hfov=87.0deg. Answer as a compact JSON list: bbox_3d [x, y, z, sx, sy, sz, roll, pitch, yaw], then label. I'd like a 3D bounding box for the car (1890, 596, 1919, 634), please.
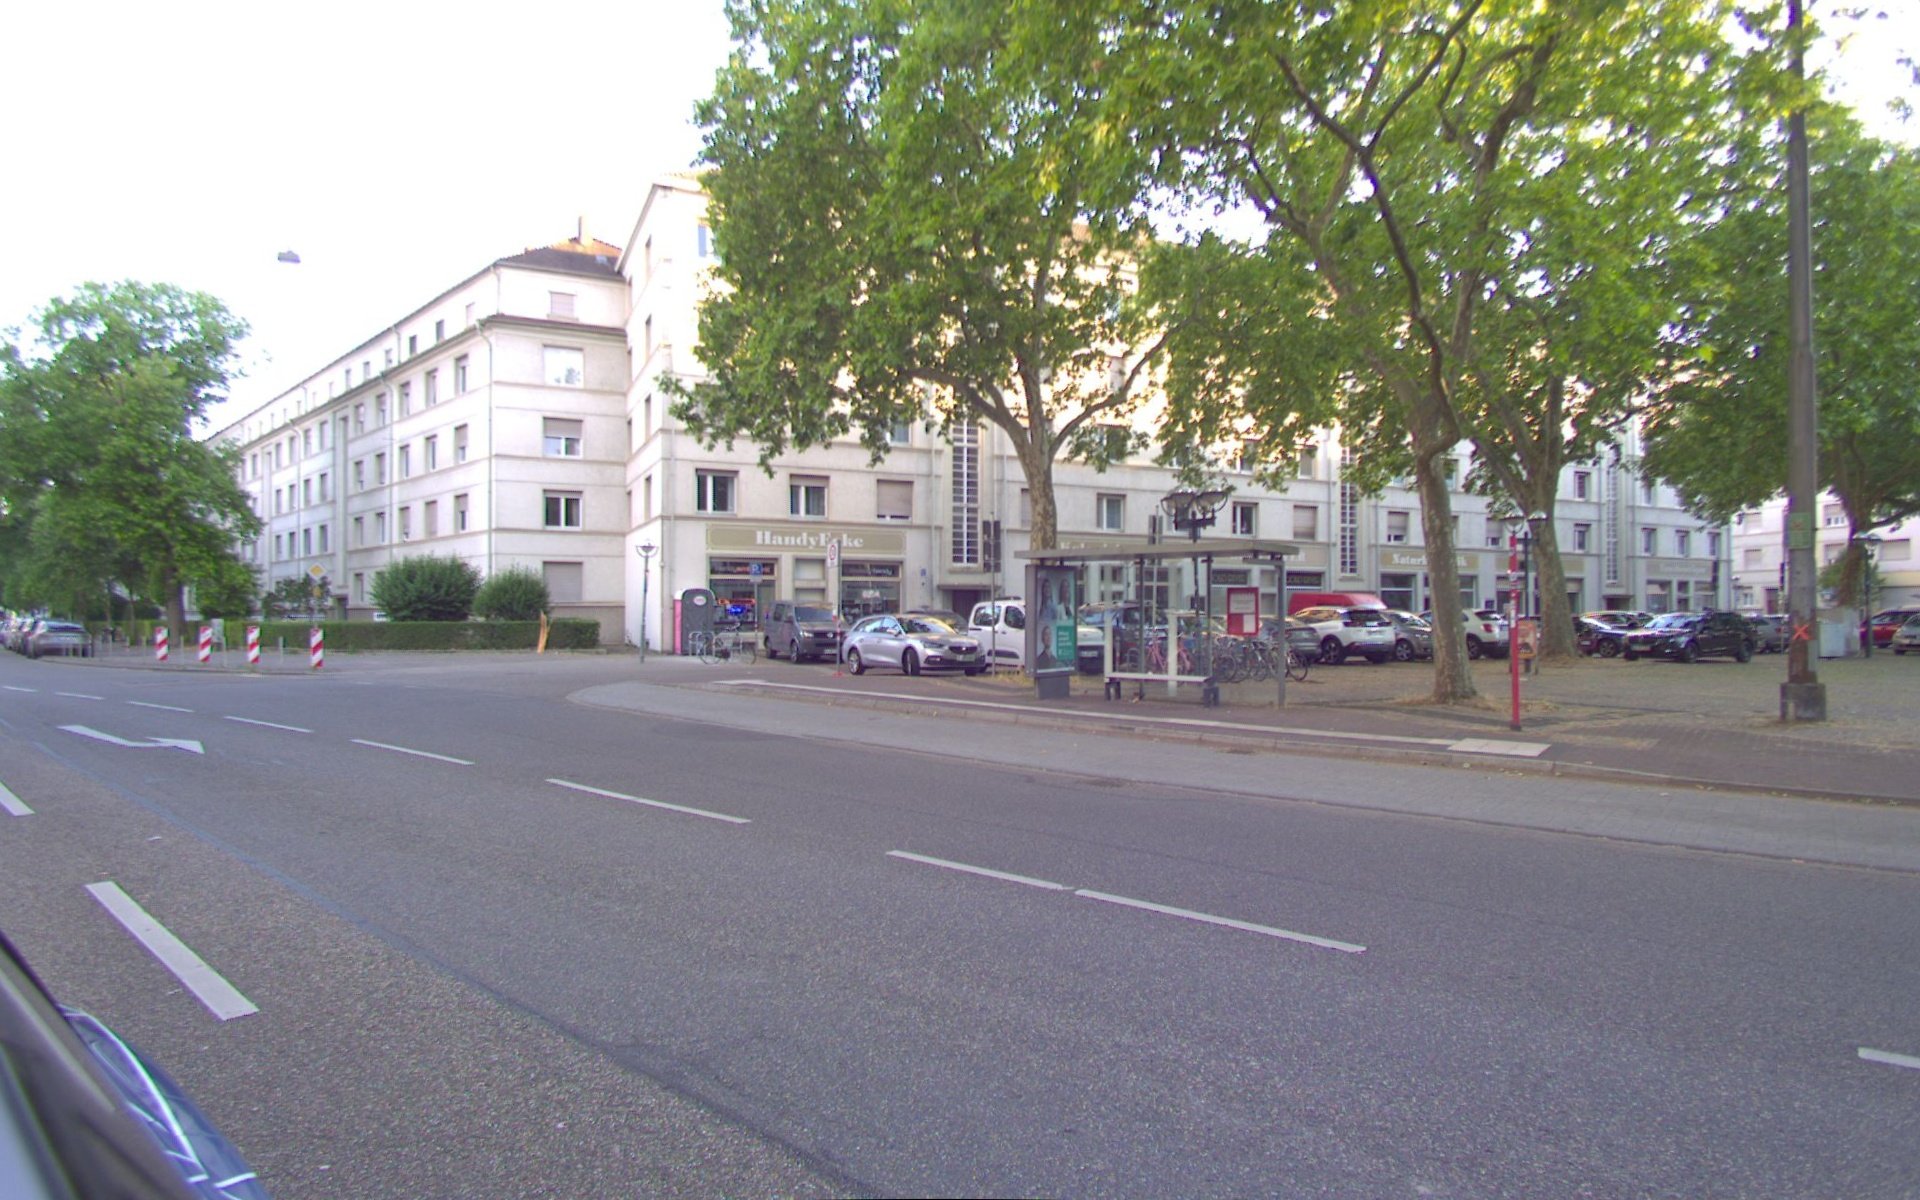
[{"bbox_3d":[47.576,0.685,48.153,1.969,1.748,4.648,2,-4,-40],"label":"car"}]

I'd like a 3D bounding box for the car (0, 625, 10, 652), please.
[{"bbox_3d":[-70.048,2.819,73.246,1.866,1.840,4.263,-1,0,-44],"label":"car"}]

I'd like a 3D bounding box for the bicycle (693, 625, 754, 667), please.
[{"bbox_3d":[-7.166,1.377,30.650,1.776,1.215,0.649,0,0,-16],"label":"bicycle"}]

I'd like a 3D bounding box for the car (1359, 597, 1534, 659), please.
[{"bbox_3d":[15.176,0.938,31.866,1.965,1.795,4.655,1,-3,-28],"label":"car"}]

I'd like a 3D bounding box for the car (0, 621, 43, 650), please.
[{"bbox_3d":[-56.543,2.108,60.915,1.866,1.612,4.263,-1,0,-44],"label":"car"}]

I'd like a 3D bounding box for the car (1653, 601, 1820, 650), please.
[{"bbox_3d":[29.841,1.049,39.056,1.965,1.748,4.655,1,-3,-28],"label":"car"}]

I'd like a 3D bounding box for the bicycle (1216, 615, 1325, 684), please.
[{"bbox_3d":[6.890,1.066,22.664,0.680,1.394,2.754,0,0,-24],"label":"bicycle"}]

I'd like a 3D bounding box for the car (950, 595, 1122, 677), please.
[{"bbox_3d":[1.725,0.913,24.751,1.965,1.795,4.655,1,-3,-28],"label":"car"}]

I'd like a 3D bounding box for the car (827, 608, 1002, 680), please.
[{"bbox_3d":[-1.190,1.047,23.882,1.967,1.515,4.652,2,-3,-35],"label":"car"}]

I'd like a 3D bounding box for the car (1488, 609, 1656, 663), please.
[{"bbox_3d":[21.369,1.293,35.559,1.965,1.748,4.655,1,-3,-28],"label":"car"}]

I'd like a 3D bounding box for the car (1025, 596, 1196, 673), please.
[{"bbox_3d":[3.769,0.932,26.209,1.965,1.795,4.655,1,-3,-28],"label":"car"}]

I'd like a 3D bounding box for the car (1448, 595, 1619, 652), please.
[{"bbox_3d":[19.186,0.864,34.099,1.965,1.795,4.655,1,-3,-28],"label":"car"}]

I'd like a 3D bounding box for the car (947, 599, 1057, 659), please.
[{"bbox_3d":[1.423,0.998,36.590,1.965,1.970,4.656,1,0,-26],"label":"car"}]

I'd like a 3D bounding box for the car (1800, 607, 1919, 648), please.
[{"bbox_3d":[40.636,1.254,45.087,1.969,1.748,4.648,2,-4,-40],"label":"car"}]

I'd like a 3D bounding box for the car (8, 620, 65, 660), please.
[{"bbox_3d":[-43.349,1.845,47.490,1.866,1.703,4.263,-1,0,-44],"label":"car"}]

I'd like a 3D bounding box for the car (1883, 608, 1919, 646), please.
[{"bbox_3d":[45.728,1.224,46.497,1.969,1.748,4.648,2,-4,-40],"label":"car"}]

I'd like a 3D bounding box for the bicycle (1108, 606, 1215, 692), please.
[{"bbox_3d":[4.061,0.940,20.706,0.680,1.626,2.754,0,0,-24],"label":"bicycle"}]

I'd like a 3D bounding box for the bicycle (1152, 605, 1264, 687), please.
[{"bbox_3d":[5.239,0.927,21.634,0.795,1.626,2.754,0,0,-24],"label":"bicycle"}]

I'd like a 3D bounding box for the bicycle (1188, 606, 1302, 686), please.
[{"bbox_3d":[6.178,0.946,22.150,0.795,1.626,2.754,0,0,-24],"label":"bicycle"}]

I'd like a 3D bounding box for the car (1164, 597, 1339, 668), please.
[{"bbox_3d":[7.979,0.956,28.196,1.965,1.795,4.655,1,-3,-28],"label":"car"}]

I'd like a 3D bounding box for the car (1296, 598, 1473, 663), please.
[{"bbox_3d":[12.605,0.958,30.365,1.965,1.795,4.655,1,-3,-28],"label":"car"}]

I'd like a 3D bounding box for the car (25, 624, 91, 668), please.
[{"bbox_3d":[-37.291,1.850,41.806,1.867,1.612,4.003,-1,0,-44],"label":"car"}]

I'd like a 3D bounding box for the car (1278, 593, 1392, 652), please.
[{"bbox_3d":[16.653,0.945,45.174,1.965,2.460,4.656,1,0,-26],"label":"car"}]

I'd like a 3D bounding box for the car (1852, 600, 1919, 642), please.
[{"bbox_3d":[43.436,0.939,45.534,1.968,1.824,4.658,2,-4,-38],"label":"car"}]

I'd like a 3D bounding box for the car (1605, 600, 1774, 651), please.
[{"bbox_3d":[27.086,1.015,37.756,1.965,1.795,4.655,1,-3,-28],"label":"car"}]

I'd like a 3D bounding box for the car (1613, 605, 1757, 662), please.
[{"bbox_3d":[20.755,0.923,28.971,3.696,1.540,1.680,1,0,-23],"label":"car"}]

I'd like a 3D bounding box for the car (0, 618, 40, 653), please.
[{"bbox_3d":[-52.876,1.968,56.693,1.866,1.787,4.263,-1,0,-44],"label":"car"}]

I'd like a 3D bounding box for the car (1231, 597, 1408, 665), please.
[{"bbox_3d":[10.192,0.944,29.114,1.965,1.795,4.655,1,-3,-28],"label":"car"}]

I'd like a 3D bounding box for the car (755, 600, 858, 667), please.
[{"bbox_3d":[-5.087,1.021,33.061,1.965,1.970,4.656,1,0,-26],"label":"car"}]

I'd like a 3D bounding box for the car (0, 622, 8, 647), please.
[{"bbox_3d":[-76.311,2.703,79.735,1.866,1.879,4.263,-1,0,-44],"label":"car"}]

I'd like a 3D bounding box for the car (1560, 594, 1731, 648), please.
[{"bbox_3d":[24.744,0.819,36.742,2.057,1.795,4.655,1,-3,-28],"label":"car"}]

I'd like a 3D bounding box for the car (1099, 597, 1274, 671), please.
[{"bbox_3d":[5.925,0.956,27.114,1.965,1.795,4.655,1,-3,-28],"label":"car"}]

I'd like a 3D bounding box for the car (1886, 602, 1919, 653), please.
[{"bbox_3d":[33.078,0.896,33.877,3.696,1.674,1.680,-1,0,-23],"label":"car"}]

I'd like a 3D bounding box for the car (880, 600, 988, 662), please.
[{"bbox_3d":[-0.986,1.021,35.406,1.965,1.970,4.656,1,0,-26],"label":"car"}]

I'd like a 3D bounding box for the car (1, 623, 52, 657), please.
[{"bbox_3d":[-48.537,2.048,52.611,1.866,1.612,4.263,-1,0,-44],"label":"car"}]
